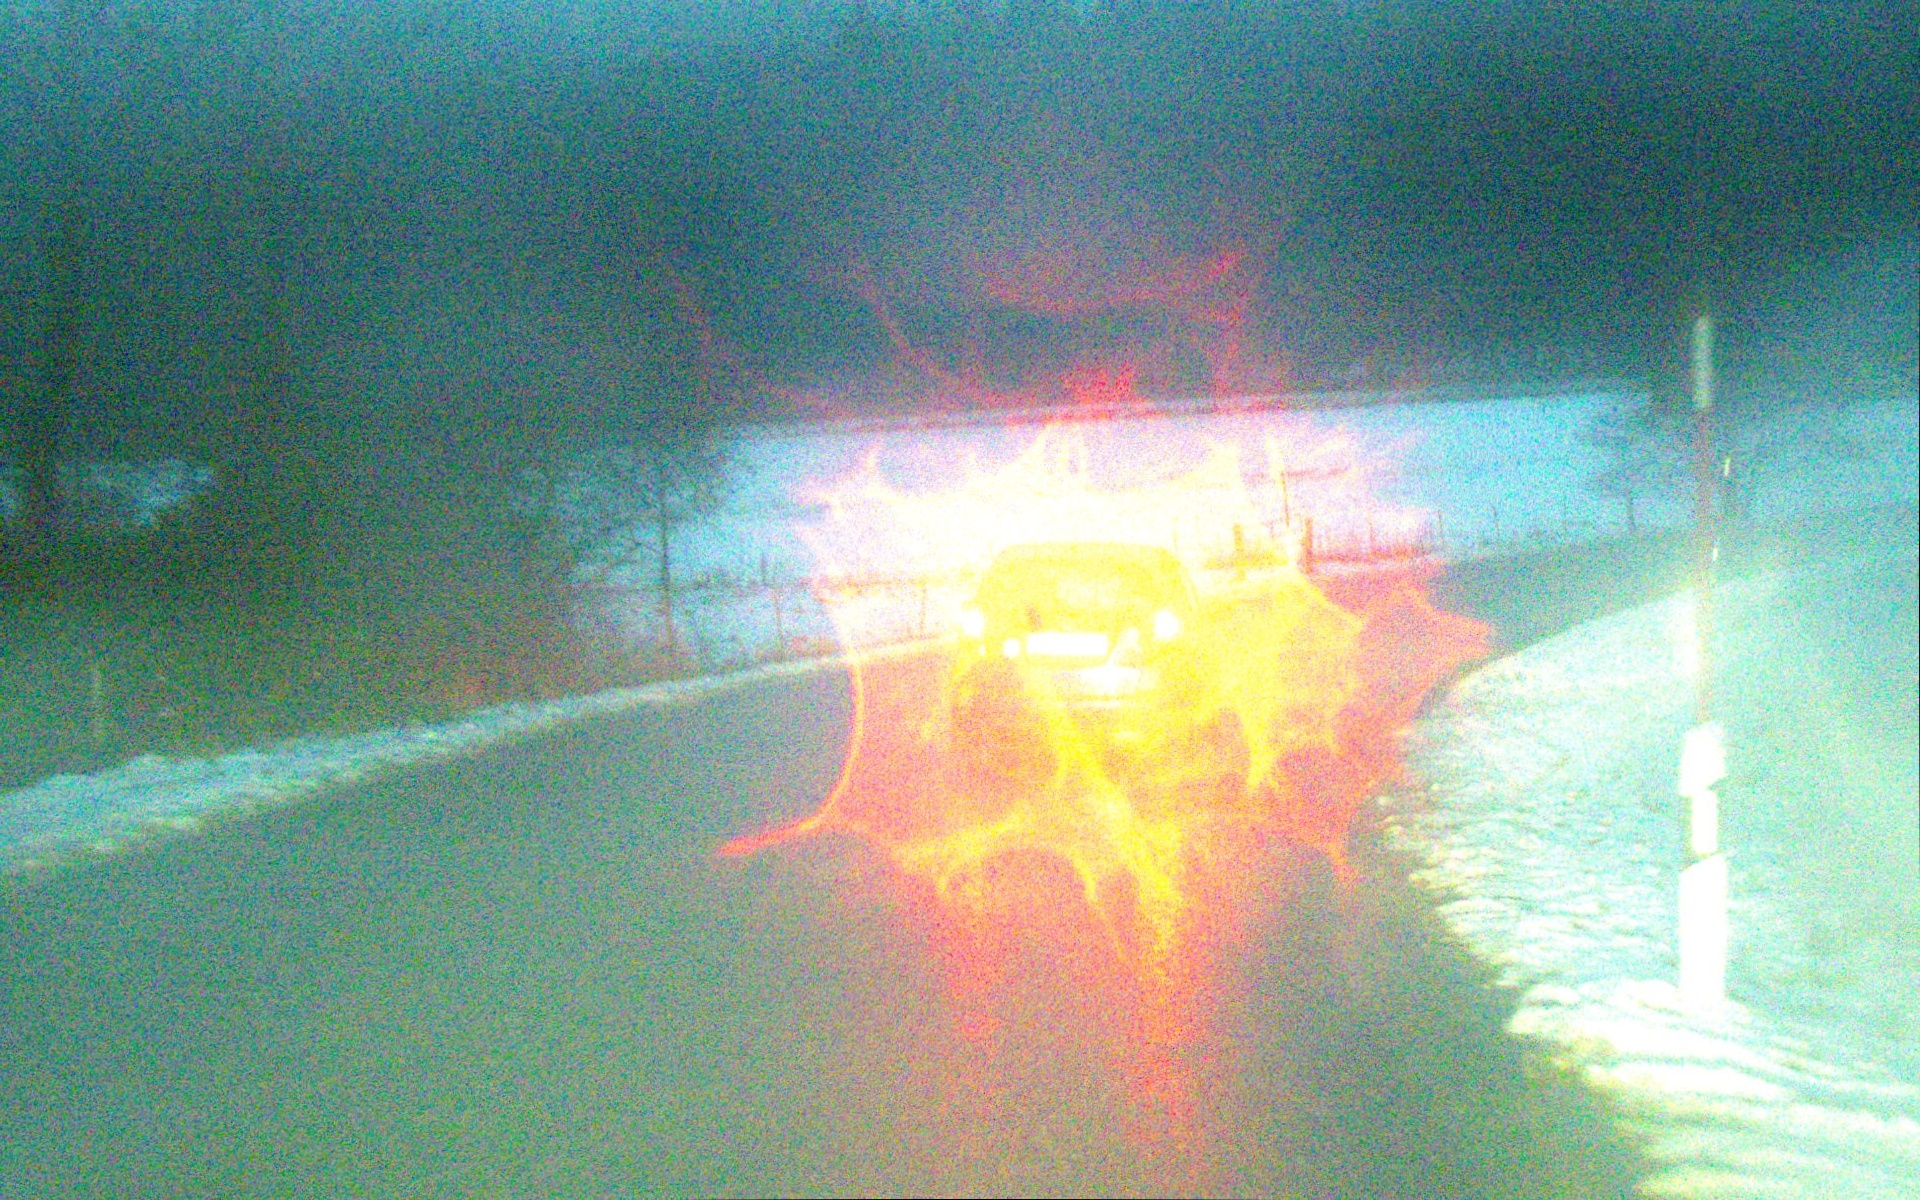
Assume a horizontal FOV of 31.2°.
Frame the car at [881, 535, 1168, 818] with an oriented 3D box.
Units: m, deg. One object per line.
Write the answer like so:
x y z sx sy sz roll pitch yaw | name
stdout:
0.381 0.469 24.226 1.822 1.790 3.578 -2 1 -1 | car
